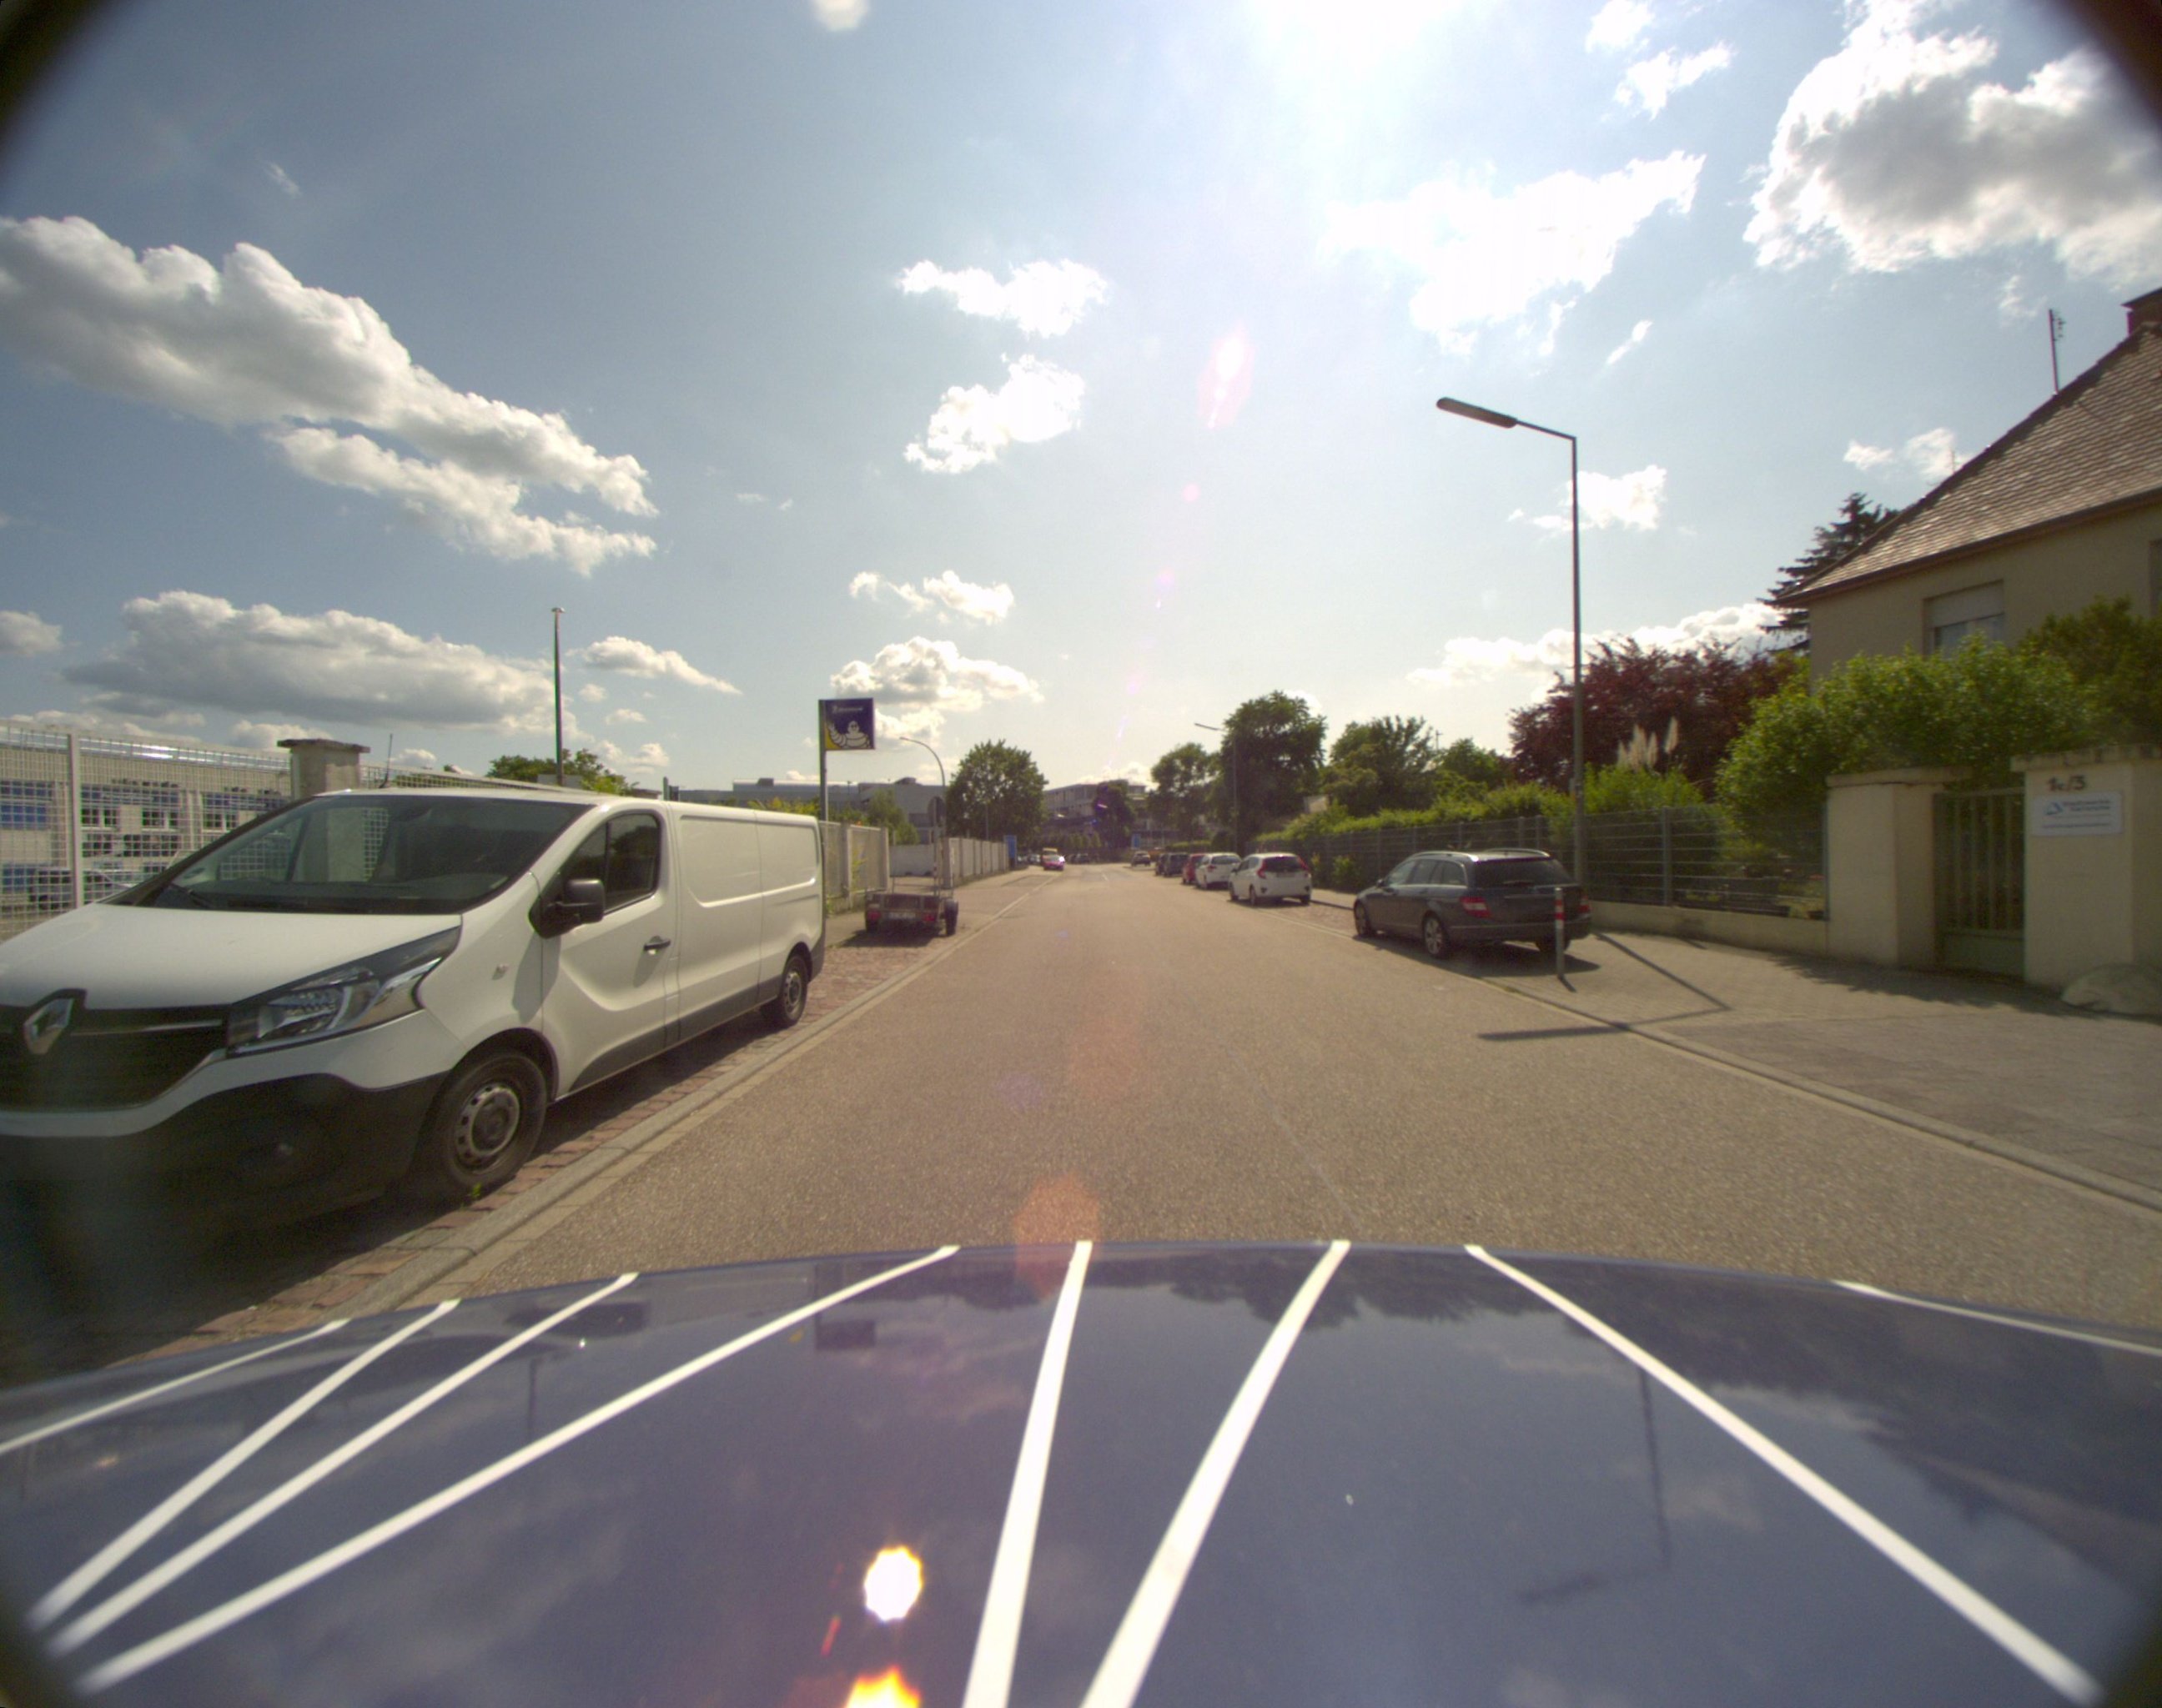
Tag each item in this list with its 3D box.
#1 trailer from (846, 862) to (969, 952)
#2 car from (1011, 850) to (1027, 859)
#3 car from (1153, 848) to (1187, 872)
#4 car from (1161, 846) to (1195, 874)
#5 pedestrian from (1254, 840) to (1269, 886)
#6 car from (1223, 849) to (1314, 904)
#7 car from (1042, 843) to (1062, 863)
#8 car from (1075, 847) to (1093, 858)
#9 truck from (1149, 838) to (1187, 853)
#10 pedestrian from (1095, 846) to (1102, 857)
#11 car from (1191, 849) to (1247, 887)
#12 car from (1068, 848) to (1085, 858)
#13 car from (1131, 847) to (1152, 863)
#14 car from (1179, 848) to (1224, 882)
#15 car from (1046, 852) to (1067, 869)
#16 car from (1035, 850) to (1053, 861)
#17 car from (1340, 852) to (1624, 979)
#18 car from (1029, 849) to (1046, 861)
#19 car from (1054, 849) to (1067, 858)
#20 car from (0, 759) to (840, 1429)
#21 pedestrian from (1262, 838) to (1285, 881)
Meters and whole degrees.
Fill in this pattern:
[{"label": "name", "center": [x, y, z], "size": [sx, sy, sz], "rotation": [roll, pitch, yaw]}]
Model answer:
[{"label": "trailer", "center": [-3.354, 0.953, 15.470], "size": [1.754, 1.409, 4.547], "rotation": [1, 1, -4]}, {"label": "car", "center": [-10.976, 0.088, 133.688], "size": [1.868, 1.673, 4.703], "rotation": [1, 0, -16]}, {"label": "car", "center": [6.334, 0.389, 54.414], "size": [1.849, 1.499, 3.999], "rotation": [-4, 1, 1]}, {"label": "car", "center": [6.314, 0.358, 49.750], "size": [1.655, 1.636, 3.272], "rotation": [-4, 1, -1]}, {"label": "pedestrian", "center": [7.638, 0.370, 32.133], "size": [0.452, 1.883, 0.677], "rotation": [-2, 2, 1]}, {"label": "car", "center": [5.715, 0.636, 23.668], "size": [1.624, 1.513, 4.174], "rotation": [-2, 1, -2]}, {"label": "car", "center": [-3.751, -0.209, 97.568], "size": [2.163, 2.451, 6.635], "rotation": [0, 1, -5]}, {"label": "car", "center": [0.427, -0.301, 124.863], "size": [1.805, 1.641, 4.683], "rotation": [-3, 1, -14]}, {"label": "truck", "center": [16.659, -1.591, 145.837], "size": [6.943, 2.642, 2.400], "rotation": [-2, 1, -26]}, {"label": "pedestrian", "center": [2.863, -0.399, 124.296], "size": [0.845, 1.682, 0.830], "rotation": [-3, 2, -8]}, {"label": "car", "center": [5.913, 0.569, 32.913], "size": [1.649, 1.469, 4.028], "rotation": [-2, 1, 0]}, {"label": "car", "center": [-0.774, -0.198, 130.287], "size": [1.782, 1.673, 4.224], "rotation": [-3, 1, -15]}, {"label": "car", "center": [6.678, 0.102, 84.267], "size": [1.762, 1.565, 4.475], "rotation": [-2, 1, -3]}, {"label": "car", "center": [5.930, 0.500, 37.628], "size": [1.670, 1.458, 3.743], "rotation": [-3, 1, 2]}, {"label": "car", "center": [-2.341, 0.617, 73.251], "size": [1.758, 1.478, 4.224], "rotation": [2, 1, 1]}, {"label": "car", "center": [-5.368, 0.235, 109.404], "size": [1.839, 1.484, 4.650], "rotation": [0, 0, -12]}, {"label": "car", "center": [5.627, 0.739, 11.445], "size": [1.810, 1.410, 4.496], "rotation": [-4, 0, 0]}, {"label": "car", "center": [-6.651, 0.087, 115.683], "size": [1.856, 1.755, 5.071], "rotation": [0, 0, -11]}, {"label": "car", "center": [-3.812, -0.096, 140.329], "size": [1.615, 1.514, 3.069], "rotation": [-2, 1, -18]}, {"label": "car", "center": [-3.564, 0.701, 5.092], "size": [1.998, 2.002, 5.649], "rotation": [-1, 1, 1]}, {"label": "pedestrian", "center": [8.217, 0.230, 32.465], "size": [0.710, 1.791, 0.916], "rotation": [-2, 2, 1]}]
